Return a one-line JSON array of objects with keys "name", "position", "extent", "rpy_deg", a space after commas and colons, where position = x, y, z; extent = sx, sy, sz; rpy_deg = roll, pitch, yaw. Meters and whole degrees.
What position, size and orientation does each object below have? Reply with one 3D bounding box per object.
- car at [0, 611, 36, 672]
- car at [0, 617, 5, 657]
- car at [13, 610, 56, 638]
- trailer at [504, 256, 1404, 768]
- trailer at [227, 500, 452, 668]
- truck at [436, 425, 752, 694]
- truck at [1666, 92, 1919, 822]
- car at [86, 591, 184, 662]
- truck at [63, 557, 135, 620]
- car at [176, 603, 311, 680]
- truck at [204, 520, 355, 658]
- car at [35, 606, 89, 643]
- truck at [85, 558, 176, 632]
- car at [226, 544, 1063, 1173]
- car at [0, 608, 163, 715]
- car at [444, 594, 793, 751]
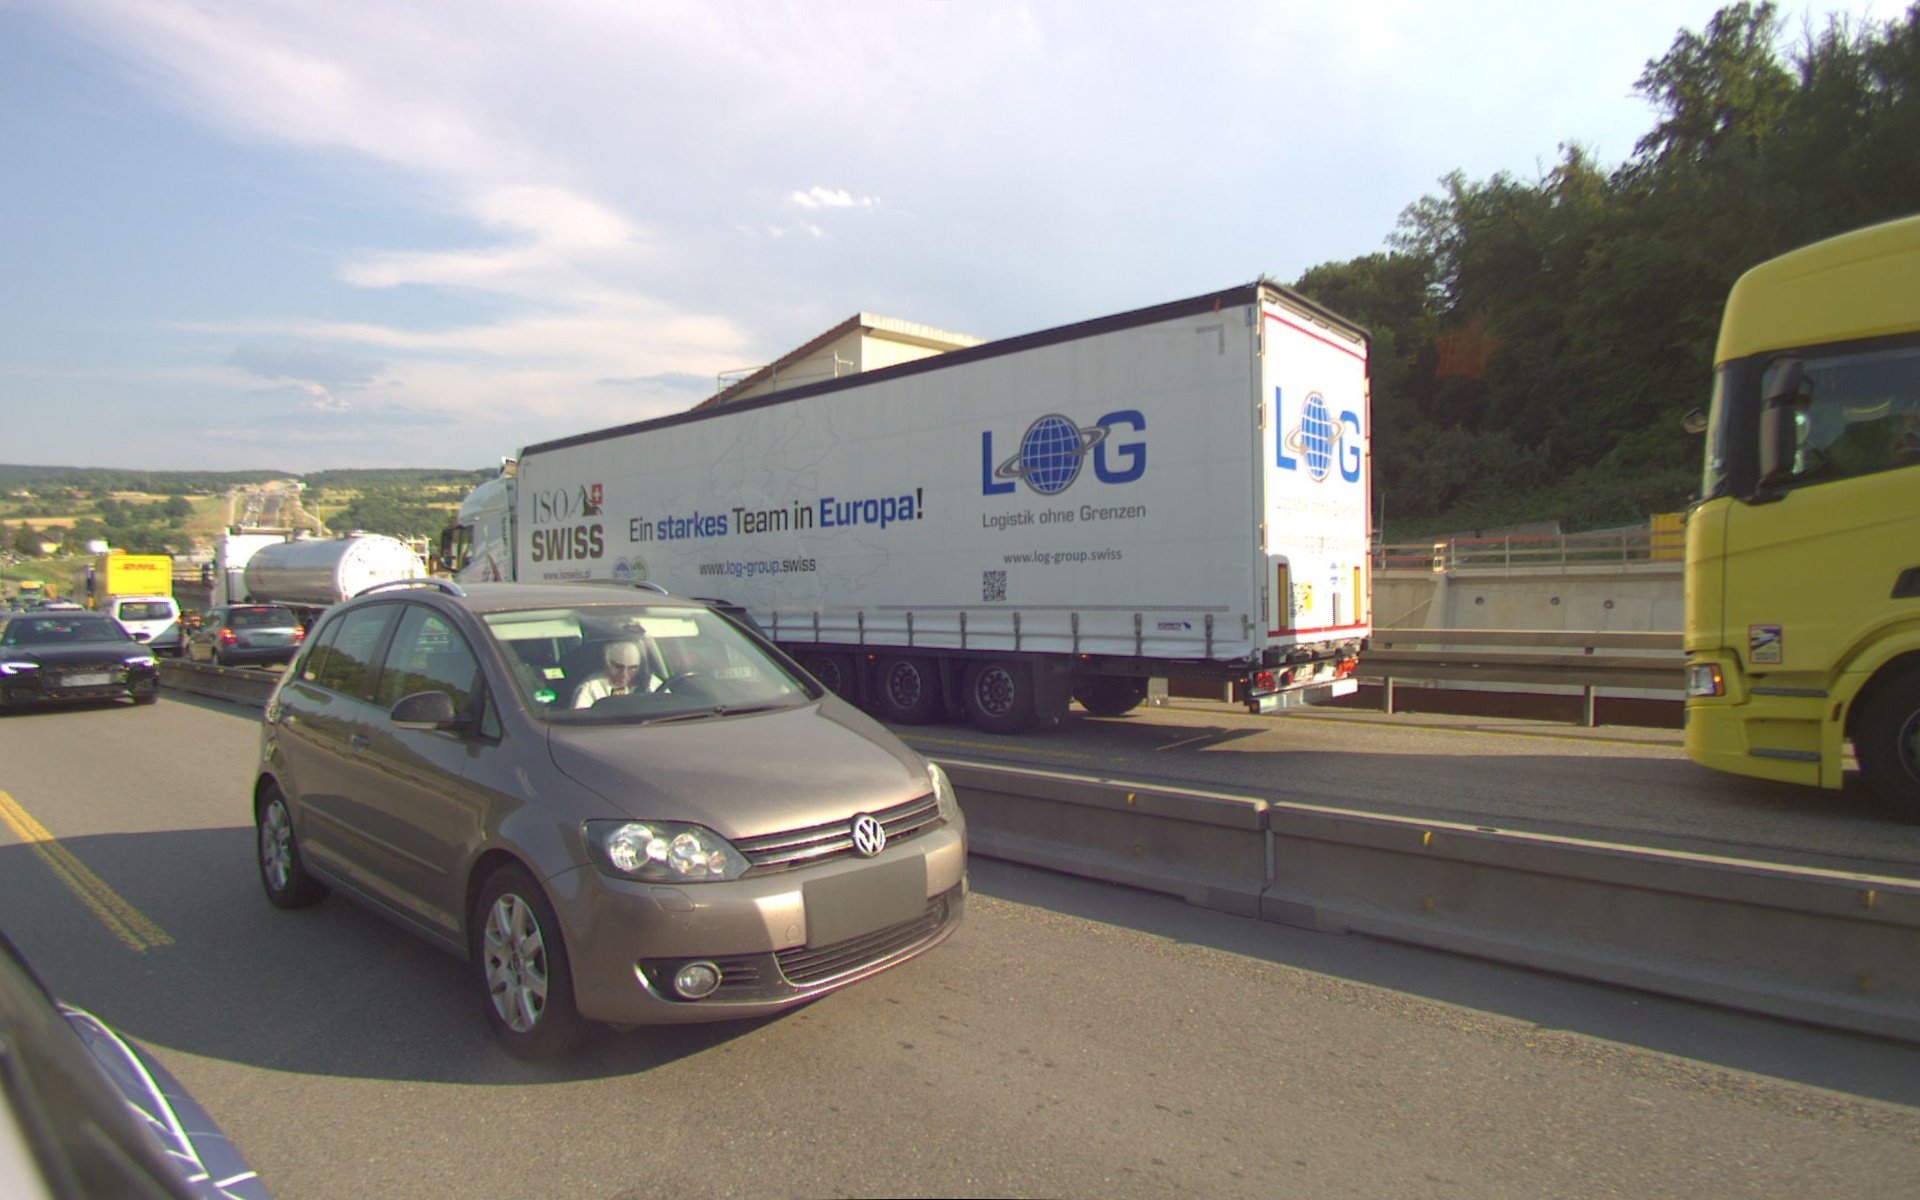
[{"name": "car", "position": [-24.261, 1.051, 25.042], "extent": [4.000, 1.409, 1.676], "rpy_deg": [-2, 1, 43]}, {"name": "car", "position": [-32.715, 1.213, 33.261], "extent": [3.999, 1.256, 1.606], "rpy_deg": [0, 1, 42]}, {"name": "car", "position": [-54.413, 1.368, 59.460], "extent": [1.734, 1.541, 4.003], "rpy_deg": [-1, 1, -44]}, {"name": "trailer", "position": [-1.685, -0.664, 13.771], "extent": [13.966, 4.066, 2.827], "rpy_deg": [-1, 0, 42]}, {"name": "trailer", "position": [-17.576, -0.353, 28.172], "extent": [10.577, 3.910, 2.569], "rpy_deg": [-1, 0, 43]}, {"name": "truck", "position": [-6.801, -0.603, 18.382], "extent": [6.099, 4.066, 2.814], "rpy_deg": [-1, 0, 42]}, {"name": "truck", "position": [7.712, -0.829, 5.545], "extent": [6.096, 4.119, 2.686], "rpy_deg": [-1, 0, 40]}, {"name": "car", "position": [-24.160, 0.727, 29.583], "extent": [1.841, 1.924, 4.002], "rpy_deg": [0, 0, -45]}, {"name": "truck", "position": [-57.241, -0.715, 67.199], "extent": [9.493, 3.912, 2.860], "rpy_deg": [0, 0, 45]}, {"name": "car", "position": [-15.864, 0.855, 22.347], "extent": [3.689, 1.521, 1.640], "rpy_deg": [-1, 0, 42]}, {"name": "truck", "position": [-21.430, -0.305, 31.743], "extent": [6.202, 3.917, 2.571], "rpy_deg": [-1, 0, 43]}, {"name": "car", "position": [-41.211, 1.085, 46.409], "extent": [1.705, 1.541, 4.003], "rpy_deg": [-2, 1, -44]}, {"name": "truck", "position": [-45.246, -0.274, 55.056], "extent": [9.493, 3.738, 2.860], "rpy_deg": [0, 0, 45]}, {"name": "car", "position": [-1.707, 0.648, 4.530], "extent": [4.097, 1.585, 1.666], "rpy_deg": [-1, 1, 41]}, {"name": "car", "position": [-13.740, 0.834, 15.429], "extent": [3.999, 1.409, 1.842], "rpy_deg": [0, 0, 42]}, {"name": "car", "position": [-4.049, 0.697, 11.562], "extent": [4.561, 1.440, 1.639], "rpy_deg": [-1, 1, 40]}]
